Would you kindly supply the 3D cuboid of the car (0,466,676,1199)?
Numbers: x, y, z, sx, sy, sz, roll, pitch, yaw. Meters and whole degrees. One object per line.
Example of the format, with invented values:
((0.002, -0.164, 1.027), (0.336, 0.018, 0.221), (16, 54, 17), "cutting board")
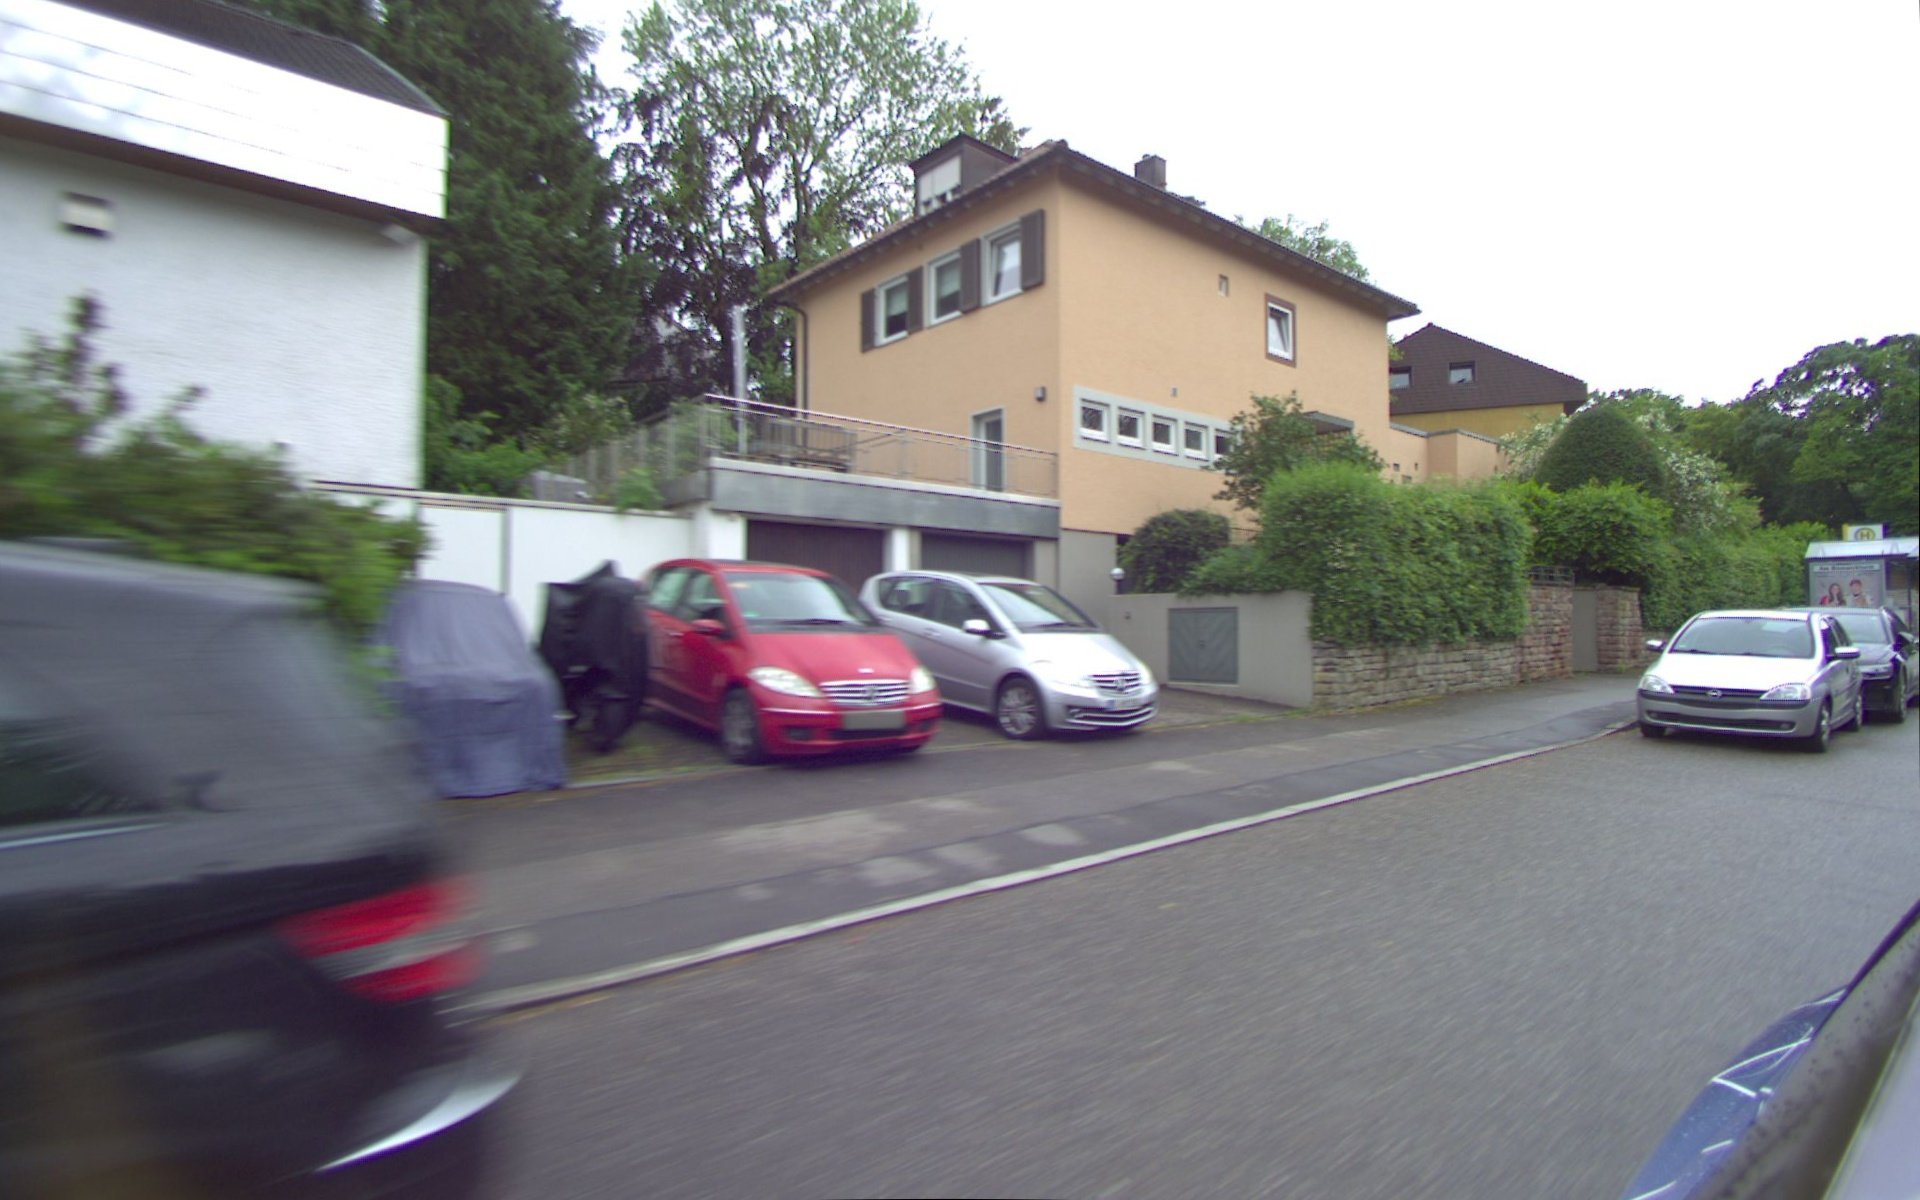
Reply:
((-2.770, 0.609, 1.080), (4.441, 1.587, 1.733), (0, 0, -40), "car")

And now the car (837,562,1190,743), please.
((0.459, 0.432, 11.193), (1.797, 1.555, 3.663), (0, 3, -42), "car")

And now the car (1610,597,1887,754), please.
((9.130, 0.710, 11.601), (4.032, 1.415, 1.815), (-1, 1, -42), "car")

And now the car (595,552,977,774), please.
((-1.745, 0.389, 9.238), (1.849, 1.585, 3.666), (0, 2, -40), "car")

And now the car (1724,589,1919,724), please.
((12.593, 0.655, 14.278), (4.546, 1.567, 1.834), (-1, 1, -39), "car")

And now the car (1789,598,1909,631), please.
((43.495, 0.687, 49.576), (1.861, 1.526, 4.226), (1, 0, -40), "car")

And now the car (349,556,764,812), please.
((-3.439, 0.471, 8.098), (1.849, 1.479, 4.253), (-1, 1, -40), "car")
